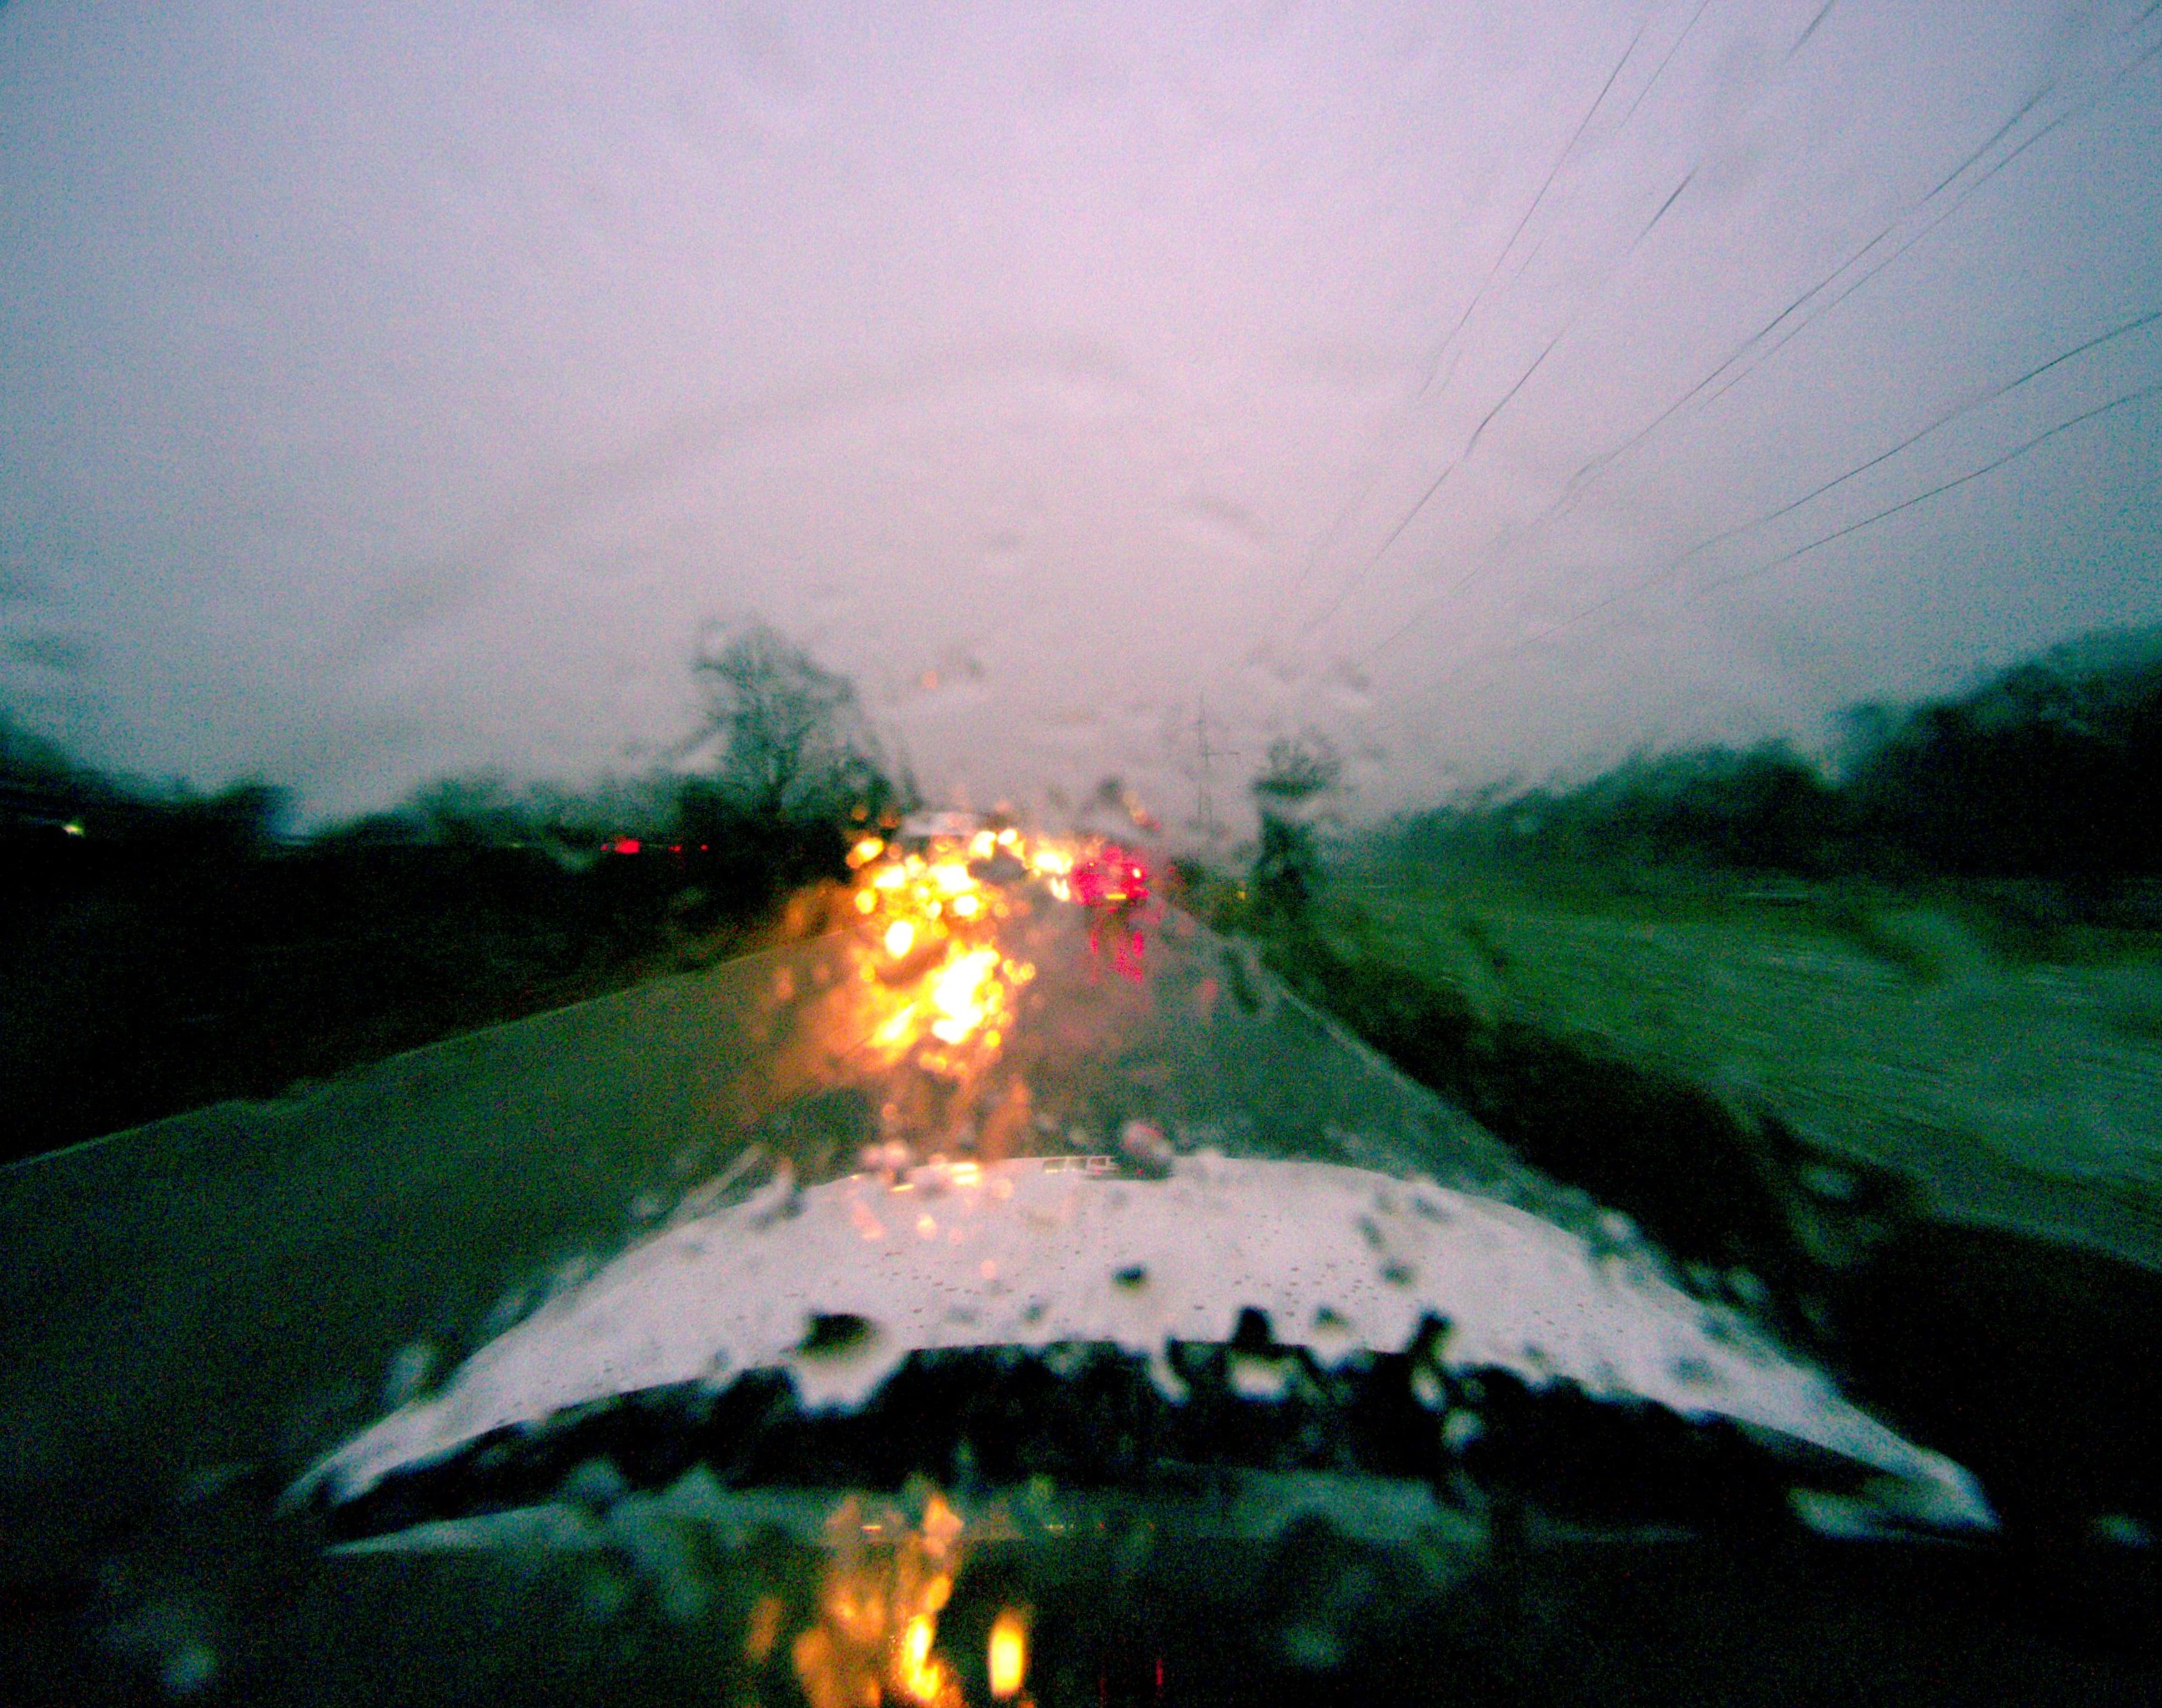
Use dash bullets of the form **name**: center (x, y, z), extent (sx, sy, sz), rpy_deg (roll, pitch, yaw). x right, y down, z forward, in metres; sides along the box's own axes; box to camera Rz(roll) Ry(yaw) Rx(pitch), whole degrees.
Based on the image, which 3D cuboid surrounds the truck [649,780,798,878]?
- **truck**: center (-25.629, -1.536, 60.002), extent (3.750, 6.288, 15.742), rpy_deg (0, -1, 1)

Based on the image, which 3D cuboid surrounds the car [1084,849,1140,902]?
- **car**: center (0.851, 0.580, 23.386), extent (1.495, 1.398, 3.200), rpy_deg (0, -1, 1)

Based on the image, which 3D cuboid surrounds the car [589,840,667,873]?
- **car**: center (-29.548, 0.175, 53.332), extent (1.985, 2.014, 5.108), rpy_deg (0, -1, 3)

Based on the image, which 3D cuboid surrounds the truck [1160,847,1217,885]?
- **truck**: center (7.689, 0.843, 59.763), extent (2.496, 2.571, 10.799), rpy_deg (0, 0, -1)

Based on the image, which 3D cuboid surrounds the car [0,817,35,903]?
- **car**: center (-26.282, 0.128, 17.057), extent (1.985, 2.014, 5.108), rpy_deg (0, -1, 3)

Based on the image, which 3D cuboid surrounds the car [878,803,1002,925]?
- **car**: center (-3.418, 0.217, 21.150), extent (1.946, 2.674, 6.273), rpy_deg (-1, 0, 1)

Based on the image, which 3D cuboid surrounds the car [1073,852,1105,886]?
- **car**: center (0.508, 0.881, 50.248), extent (1.846, 2.014, 4.000), rpy_deg (0, -1, 1)
